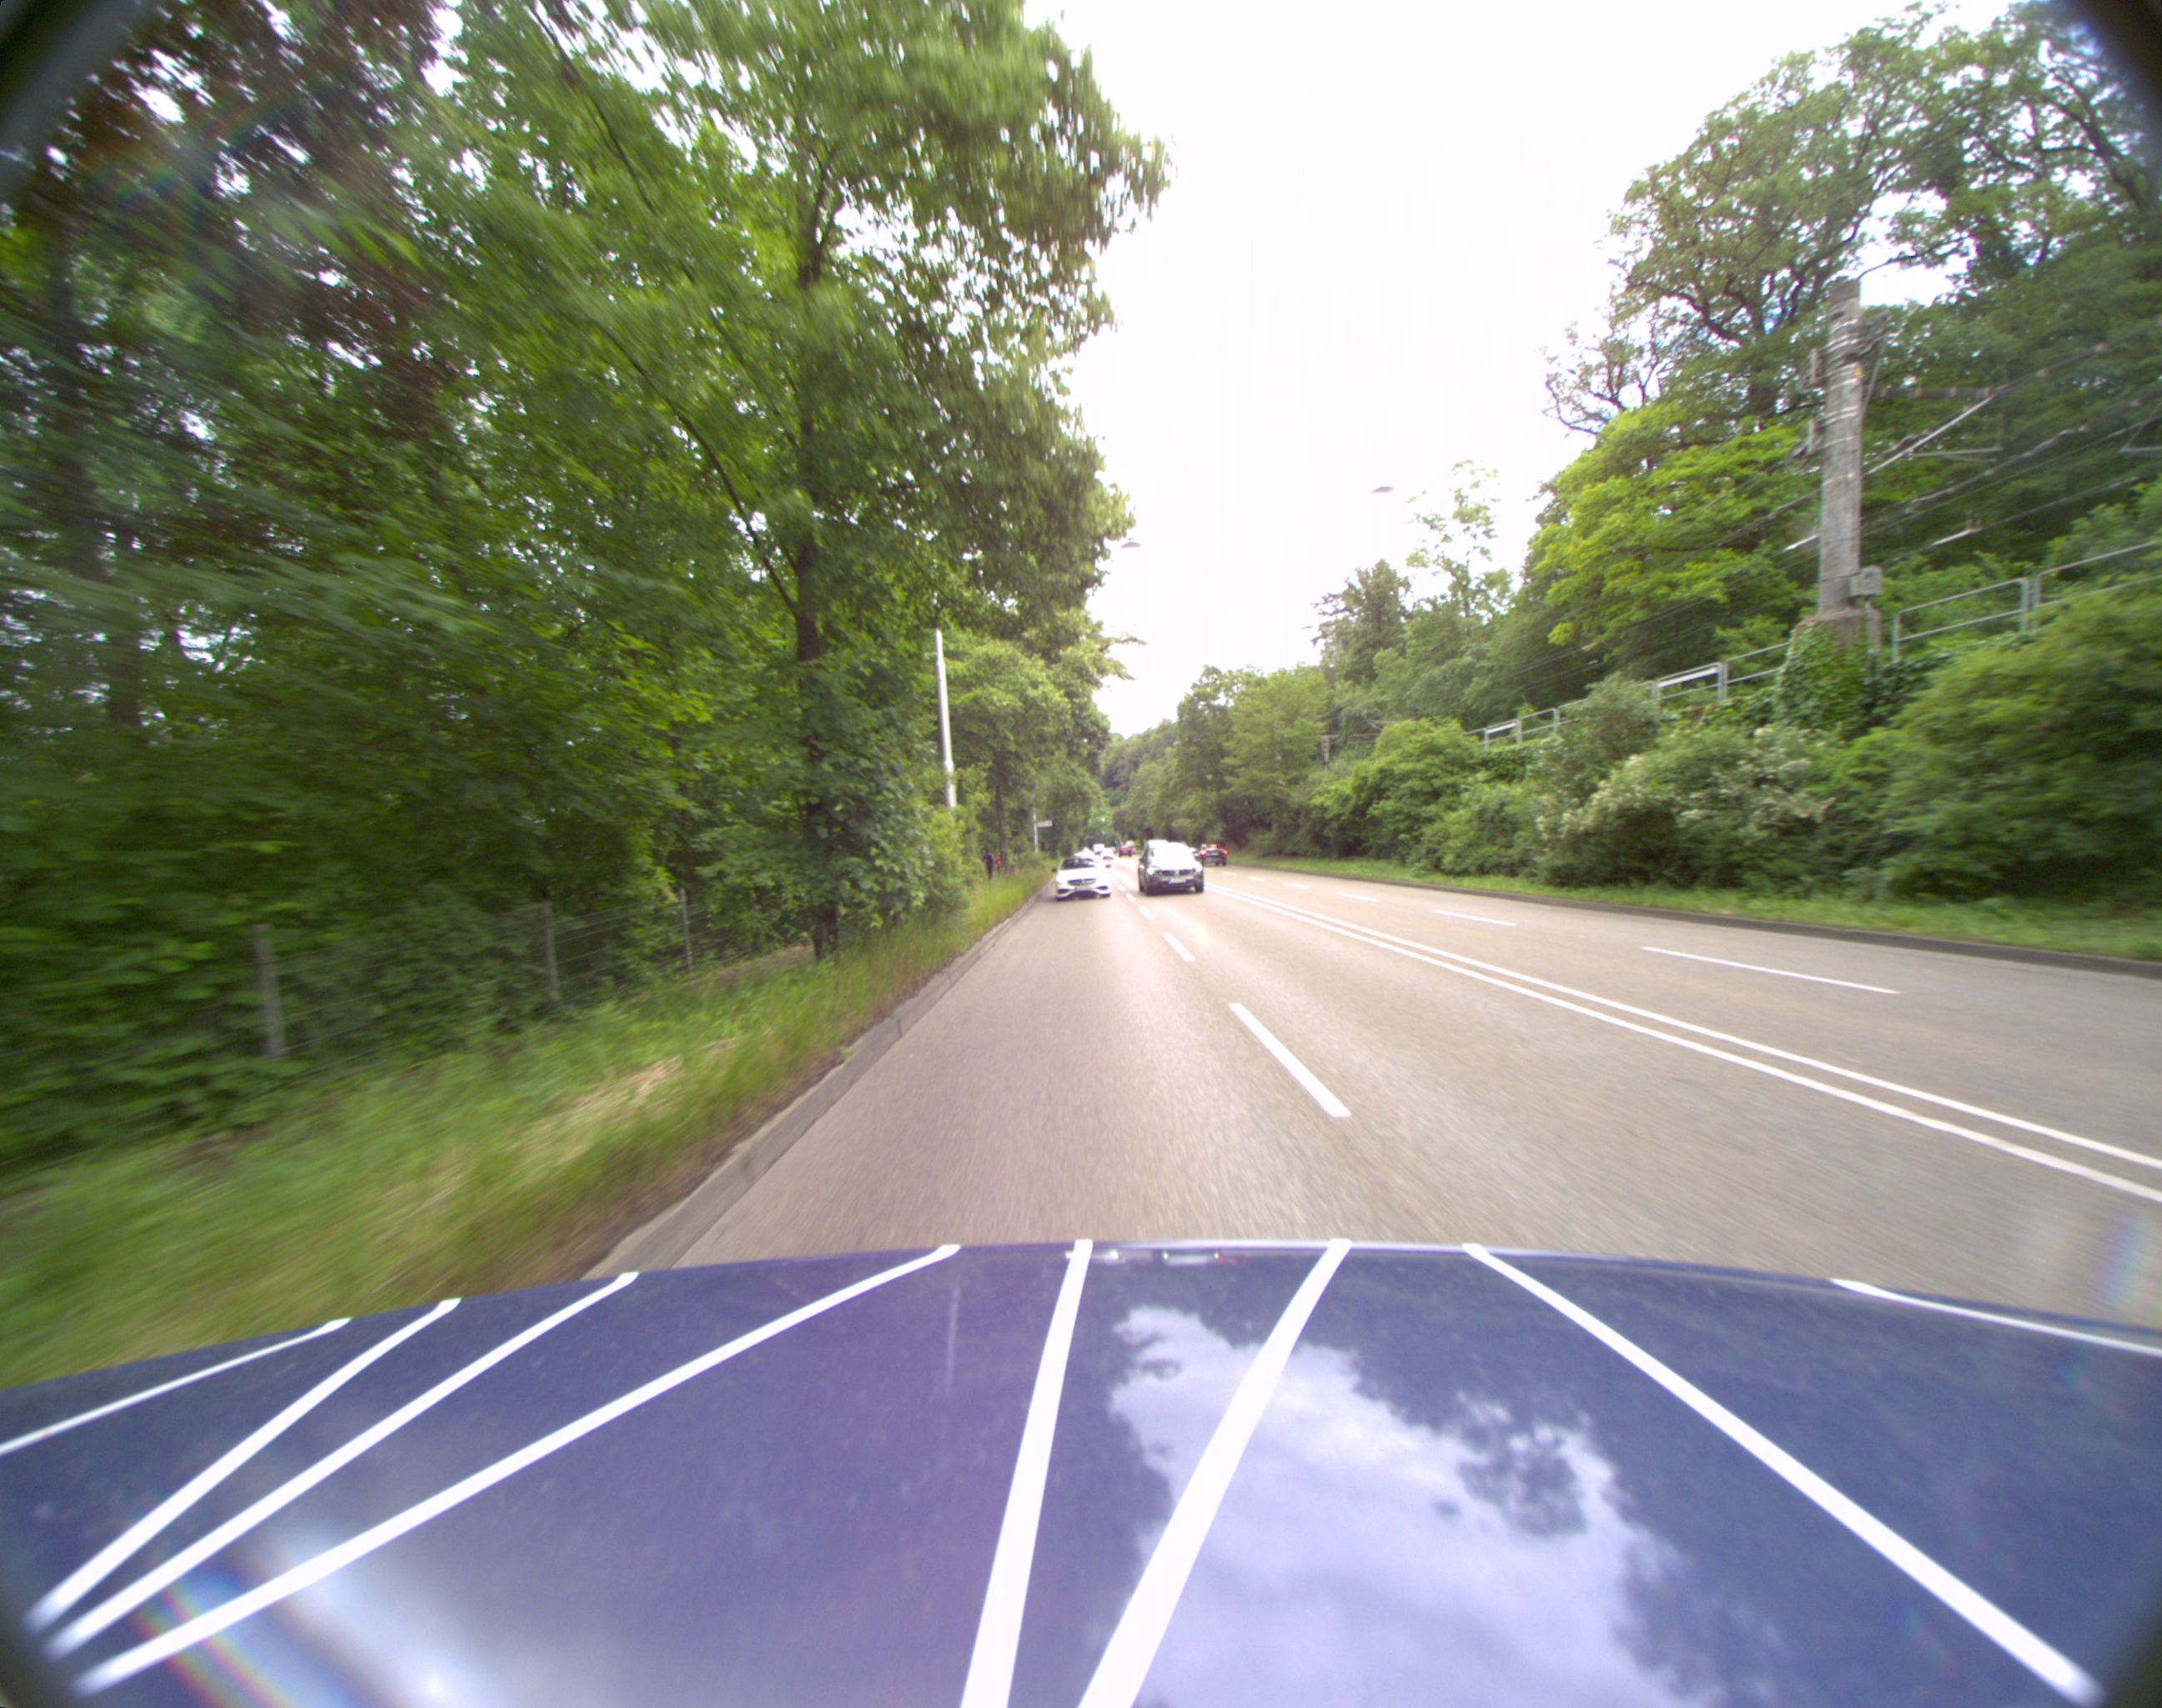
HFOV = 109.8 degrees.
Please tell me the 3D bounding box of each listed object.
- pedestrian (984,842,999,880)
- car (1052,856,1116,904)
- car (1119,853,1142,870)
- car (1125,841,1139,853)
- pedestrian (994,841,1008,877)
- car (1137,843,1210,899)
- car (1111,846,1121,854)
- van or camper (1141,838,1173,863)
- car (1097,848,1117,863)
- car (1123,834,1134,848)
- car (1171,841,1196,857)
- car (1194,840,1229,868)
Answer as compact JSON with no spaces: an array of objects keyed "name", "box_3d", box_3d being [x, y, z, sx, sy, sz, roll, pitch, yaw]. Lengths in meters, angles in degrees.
[{"name":"pedestrian","box_3d":[-4.175,0.321,35.306,0.520,1.743,0.524,-4,2,-3]},{"name":"car","box_3d":[0.097,0.826,25.951,1.897,1.289,4.327,-4,1,0]},{"name":"car","box_3d":[4.710,0.694,72.451,1.918,1.459,4.529,-2,1,1]},{"name":"car","box_3d":[7.538,-1.016,112.169,1.814,1.652,4.831,6,0,4]},{"name":"pedestrian","box_3d":[-3.784,0.237,35.876,0.610,1.688,0.548,1,1,-3]},{"name":"car","box_3d":[2.969,0.472,25.153,1.871,1.653,4.191,-1,1,0]},{"name":"car","box_3d":[7.536,-0.859,162.918,1.844,1.457,4.465,-9,1,1]},{"name":"van or camper","box_3d":[6.266,-0.336,63.014,1.999,2.002,5.367,0,1,-1]},{"name":"car","box_3d":[3.409,0.196,99.252,1.699,1.733,3.996,-5,1,-11]},{"name":"car","box_3d":[9.368,-2.564,150.231,1.892,2.541,4.914,-1,1,1]},{"name":"car","box_3d":[8.867,-0.414,66.048,1.646,1.305,3.999,-1,1,1]},{"name":"car","box_3d":[9.086,-0.056,53.182,1.740,1.588,4.065,-1,5,0]}]
